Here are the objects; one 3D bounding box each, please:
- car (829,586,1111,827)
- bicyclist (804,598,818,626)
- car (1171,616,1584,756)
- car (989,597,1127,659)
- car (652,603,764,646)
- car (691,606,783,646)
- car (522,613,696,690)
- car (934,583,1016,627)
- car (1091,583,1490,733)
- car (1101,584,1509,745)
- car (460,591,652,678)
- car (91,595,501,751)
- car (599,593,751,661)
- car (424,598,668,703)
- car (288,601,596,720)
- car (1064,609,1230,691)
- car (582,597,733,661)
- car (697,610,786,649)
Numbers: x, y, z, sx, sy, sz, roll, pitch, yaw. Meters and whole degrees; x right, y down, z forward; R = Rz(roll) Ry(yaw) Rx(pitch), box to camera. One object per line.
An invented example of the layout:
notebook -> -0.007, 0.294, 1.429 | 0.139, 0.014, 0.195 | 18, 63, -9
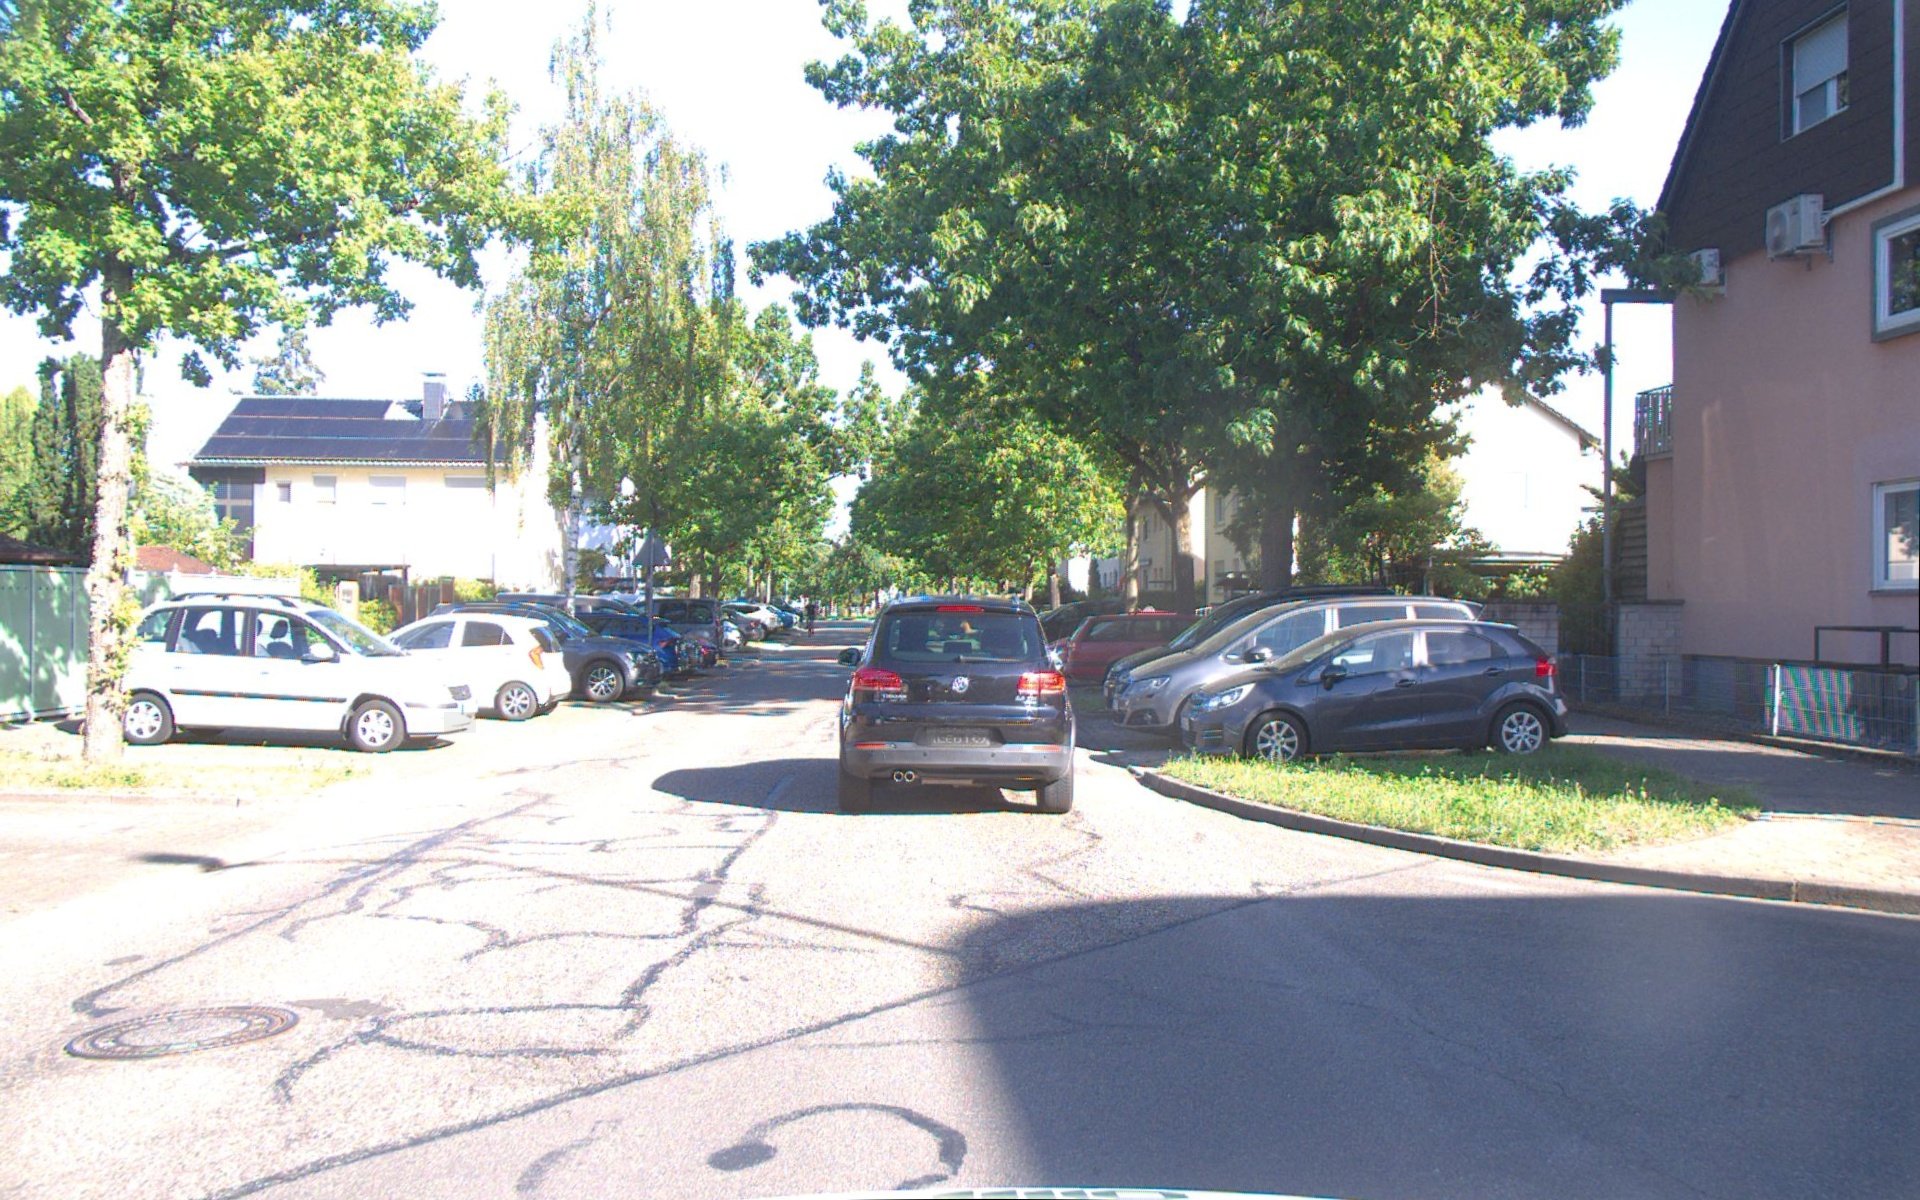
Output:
car -> -0.093, 0.776, 14.086 | 1.892, 1.683, 4.508 | 2, 0, -6
bicyclist -> -7.305, 0.596, 81.152 | 0.687, 1.370, 0.506 | 0, -3, -6
car -> 4.327, 0.875, 17.556 | 3.907, 1.392, 1.846 | 0, -1, -2
car -> 2.843, 0.812, 48.485 | 3.906, 1.806, 1.789 | 0, 0, -2
car -> -9.332, 0.911, 61.508 | 3.906, 1.525, 1.999 | 0, -2, -2
car -> -9.692, 1.126, 71.675 | 3.914, 1.714, 1.919 | 0, -1, -10
car -> -7.123, 1.036, 33.800 | 3.306, 1.516, 1.641 | 0, -1, -6
car -> 0.696, 0.237, 79.884 | 3.906, 2.049, 1.999 | 0, -3, -2
car -> 4.514, 0.789, 23.103 | 5.154, 1.979, 1.999 | 0, -1, -2
car -> 4.082, 0.746, 20.048 | 4.540, 1.841, 1.823 | 0, -1, -2
car -> -8.883, 0.753, 36.604 | 3.910, 1.868, 1.635 | 0, -1, -6
car -> -7.530, 0.805, 19.090 | 3.906, 1.699, 2.000 | 0, 0, -1
car -> -8.347, 0.811, 48.736 | 4.306, 1.973, 1.576 | 0, -2, -7
car -> -7.223, 0.861, 29.204 | 3.910, 1.762, 1.997 | 0, -1, -6
car -> -7.553, 0.867, 24.430 | 3.905, 1.669, 2.000 | 0, 0, -1
car -> 3.587, 0.946, 31.884 | 2.987, 1.534, 1.244 | 0, -1, -8
car -> -8.407, 0.826, 46.262 | 3.907, 1.750, 1.819 | 0, -2, -3
car -> -9.792, 1.295, 74.071 | 3.914, 1.714, 1.995 | 0, -1, -10
